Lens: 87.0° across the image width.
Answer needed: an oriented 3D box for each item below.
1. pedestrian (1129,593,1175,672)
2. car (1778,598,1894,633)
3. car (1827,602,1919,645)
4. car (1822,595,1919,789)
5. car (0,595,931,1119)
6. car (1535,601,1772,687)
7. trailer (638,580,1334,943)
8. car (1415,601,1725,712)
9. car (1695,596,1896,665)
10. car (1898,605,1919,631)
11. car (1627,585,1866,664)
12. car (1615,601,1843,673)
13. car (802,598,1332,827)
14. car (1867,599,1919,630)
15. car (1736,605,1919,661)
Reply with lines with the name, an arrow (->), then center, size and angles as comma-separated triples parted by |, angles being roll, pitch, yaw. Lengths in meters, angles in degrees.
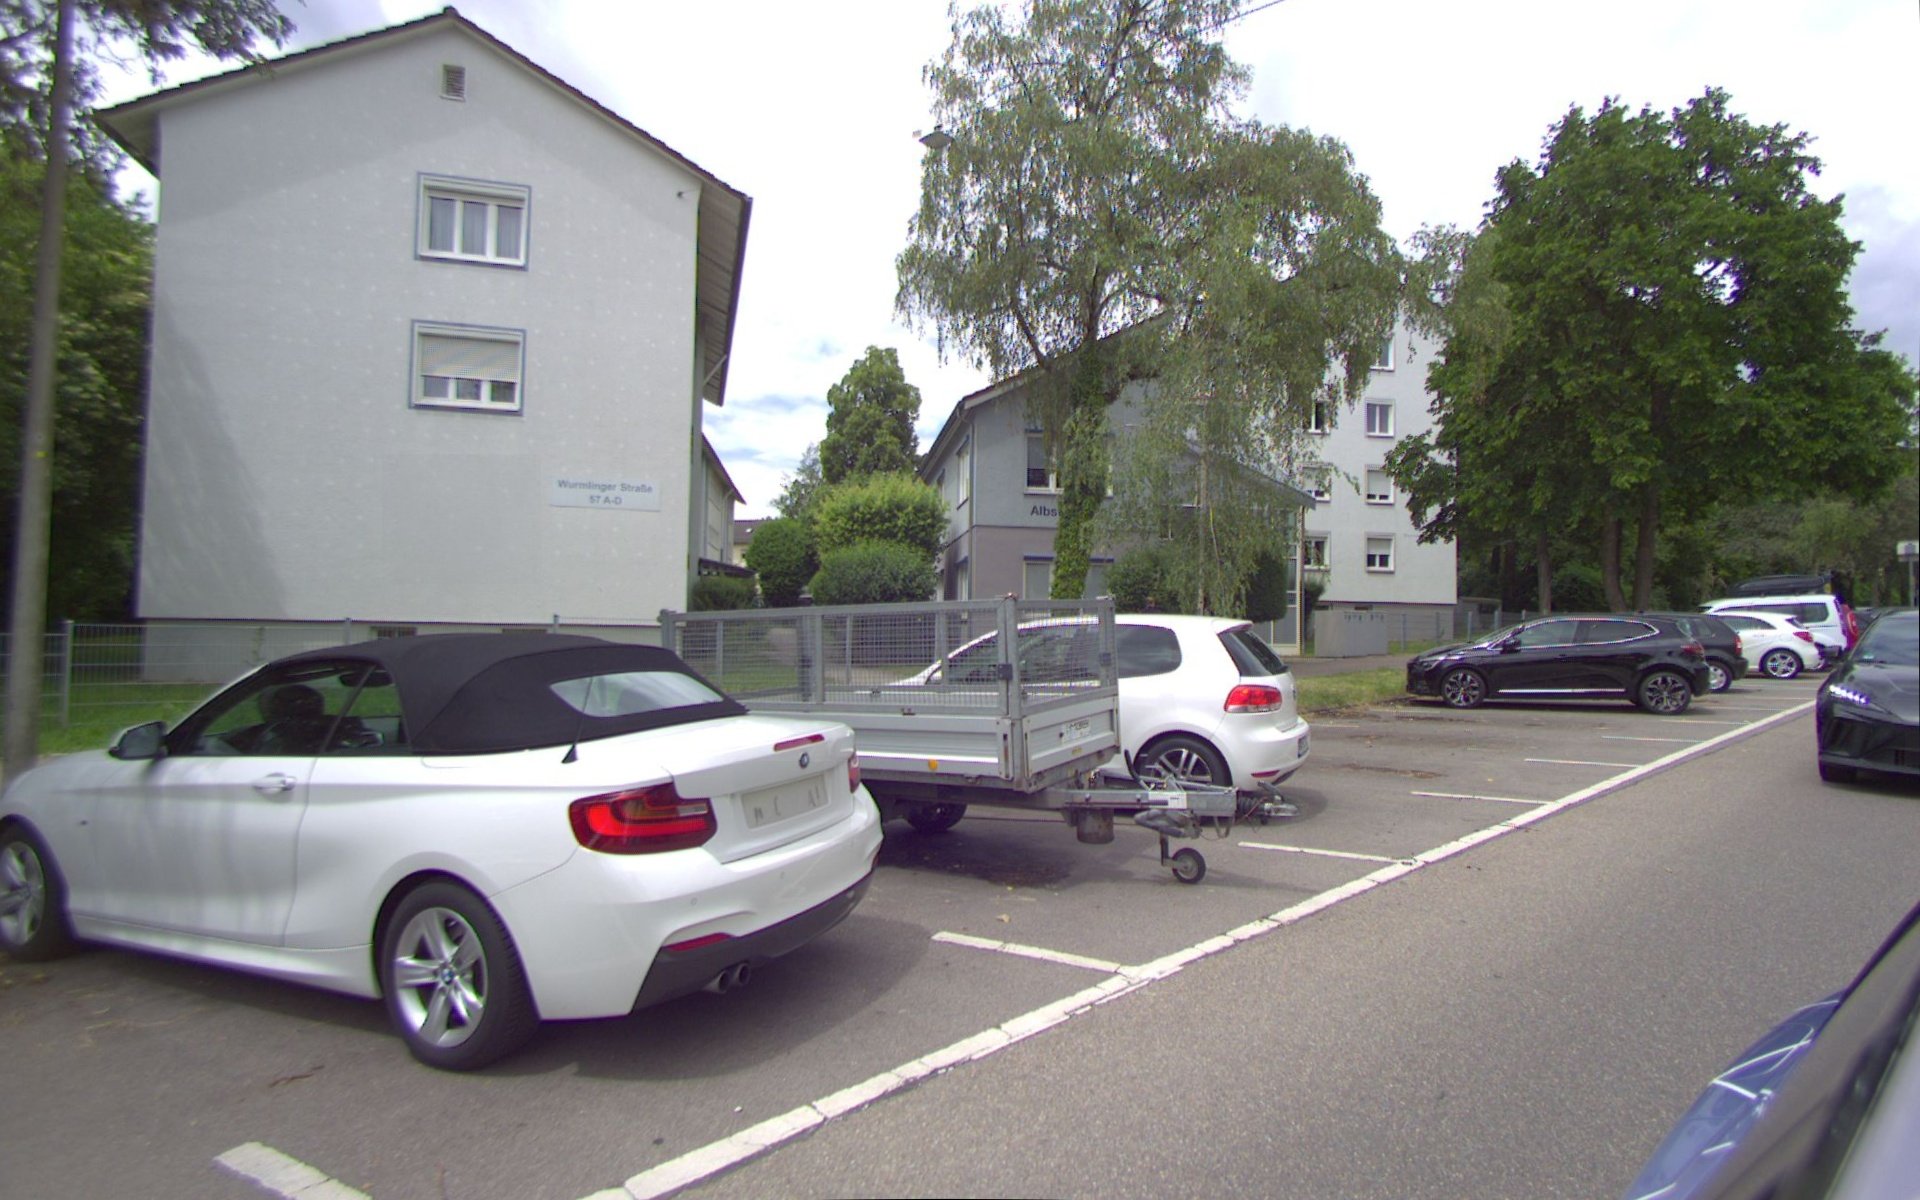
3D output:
pedestrian -> 3.810, 0.630, 20.082 | 0.688, 1.523, 0.770 | -1, -1, 30
car -> 41.205, 0.756, 47.722 | 3.824, 1.578, 1.637 | -2, -1, 30
car -> 36.446, 0.918, 39.373 | 3.824, 1.633, 1.637 | -2, -1, 30
car -> 9.162, 0.723, 8.975 | 3.728, 1.511, 1.811 | 0, 0, -41
car -> -2.304, 0.775, 4.548 | 3.956, 1.483, 1.835 | -1, -1, 24
car -> 12.844, 0.796, 19.024 | 3.483, 1.483, 1.698 | -2, -1, 30
trailer -> 0.038, 0.708, 6.147 | 3.968, 1.572, 1.640 | 0, -1, 32
car -> 9.036, 0.816, 15.394 | 3.815, 1.452, 1.702 | -1, 1, 25
car -> 21.508, 0.771, 26.272 | 3.833, 1.664, 1.829 | -2, -1, 36
car -> 53.651, 0.933, 55.025 | 3.842, 1.404, 1.630 | -2, -1, 42
car -> 18.863, 0.596, 24.536 | 4.178, 1.781, 1.843 | -1, -1, 26
car -> 16.814, 0.801, 22.357 | 3.833, 1.457, 1.694 | -2, -1, 36
car -> 0.829, 0.777, 8.317 | 3.963, 1.483, 1.773 | -1, -1, 29
car -> 50.773, 0.764, 53.735 | 3.842, 1.582, 1.630 | -2, -1, 42
car -> 23.823, 0.895, 27.819 | 3.833, 1.453, 1.634 | -2, -1, 36
